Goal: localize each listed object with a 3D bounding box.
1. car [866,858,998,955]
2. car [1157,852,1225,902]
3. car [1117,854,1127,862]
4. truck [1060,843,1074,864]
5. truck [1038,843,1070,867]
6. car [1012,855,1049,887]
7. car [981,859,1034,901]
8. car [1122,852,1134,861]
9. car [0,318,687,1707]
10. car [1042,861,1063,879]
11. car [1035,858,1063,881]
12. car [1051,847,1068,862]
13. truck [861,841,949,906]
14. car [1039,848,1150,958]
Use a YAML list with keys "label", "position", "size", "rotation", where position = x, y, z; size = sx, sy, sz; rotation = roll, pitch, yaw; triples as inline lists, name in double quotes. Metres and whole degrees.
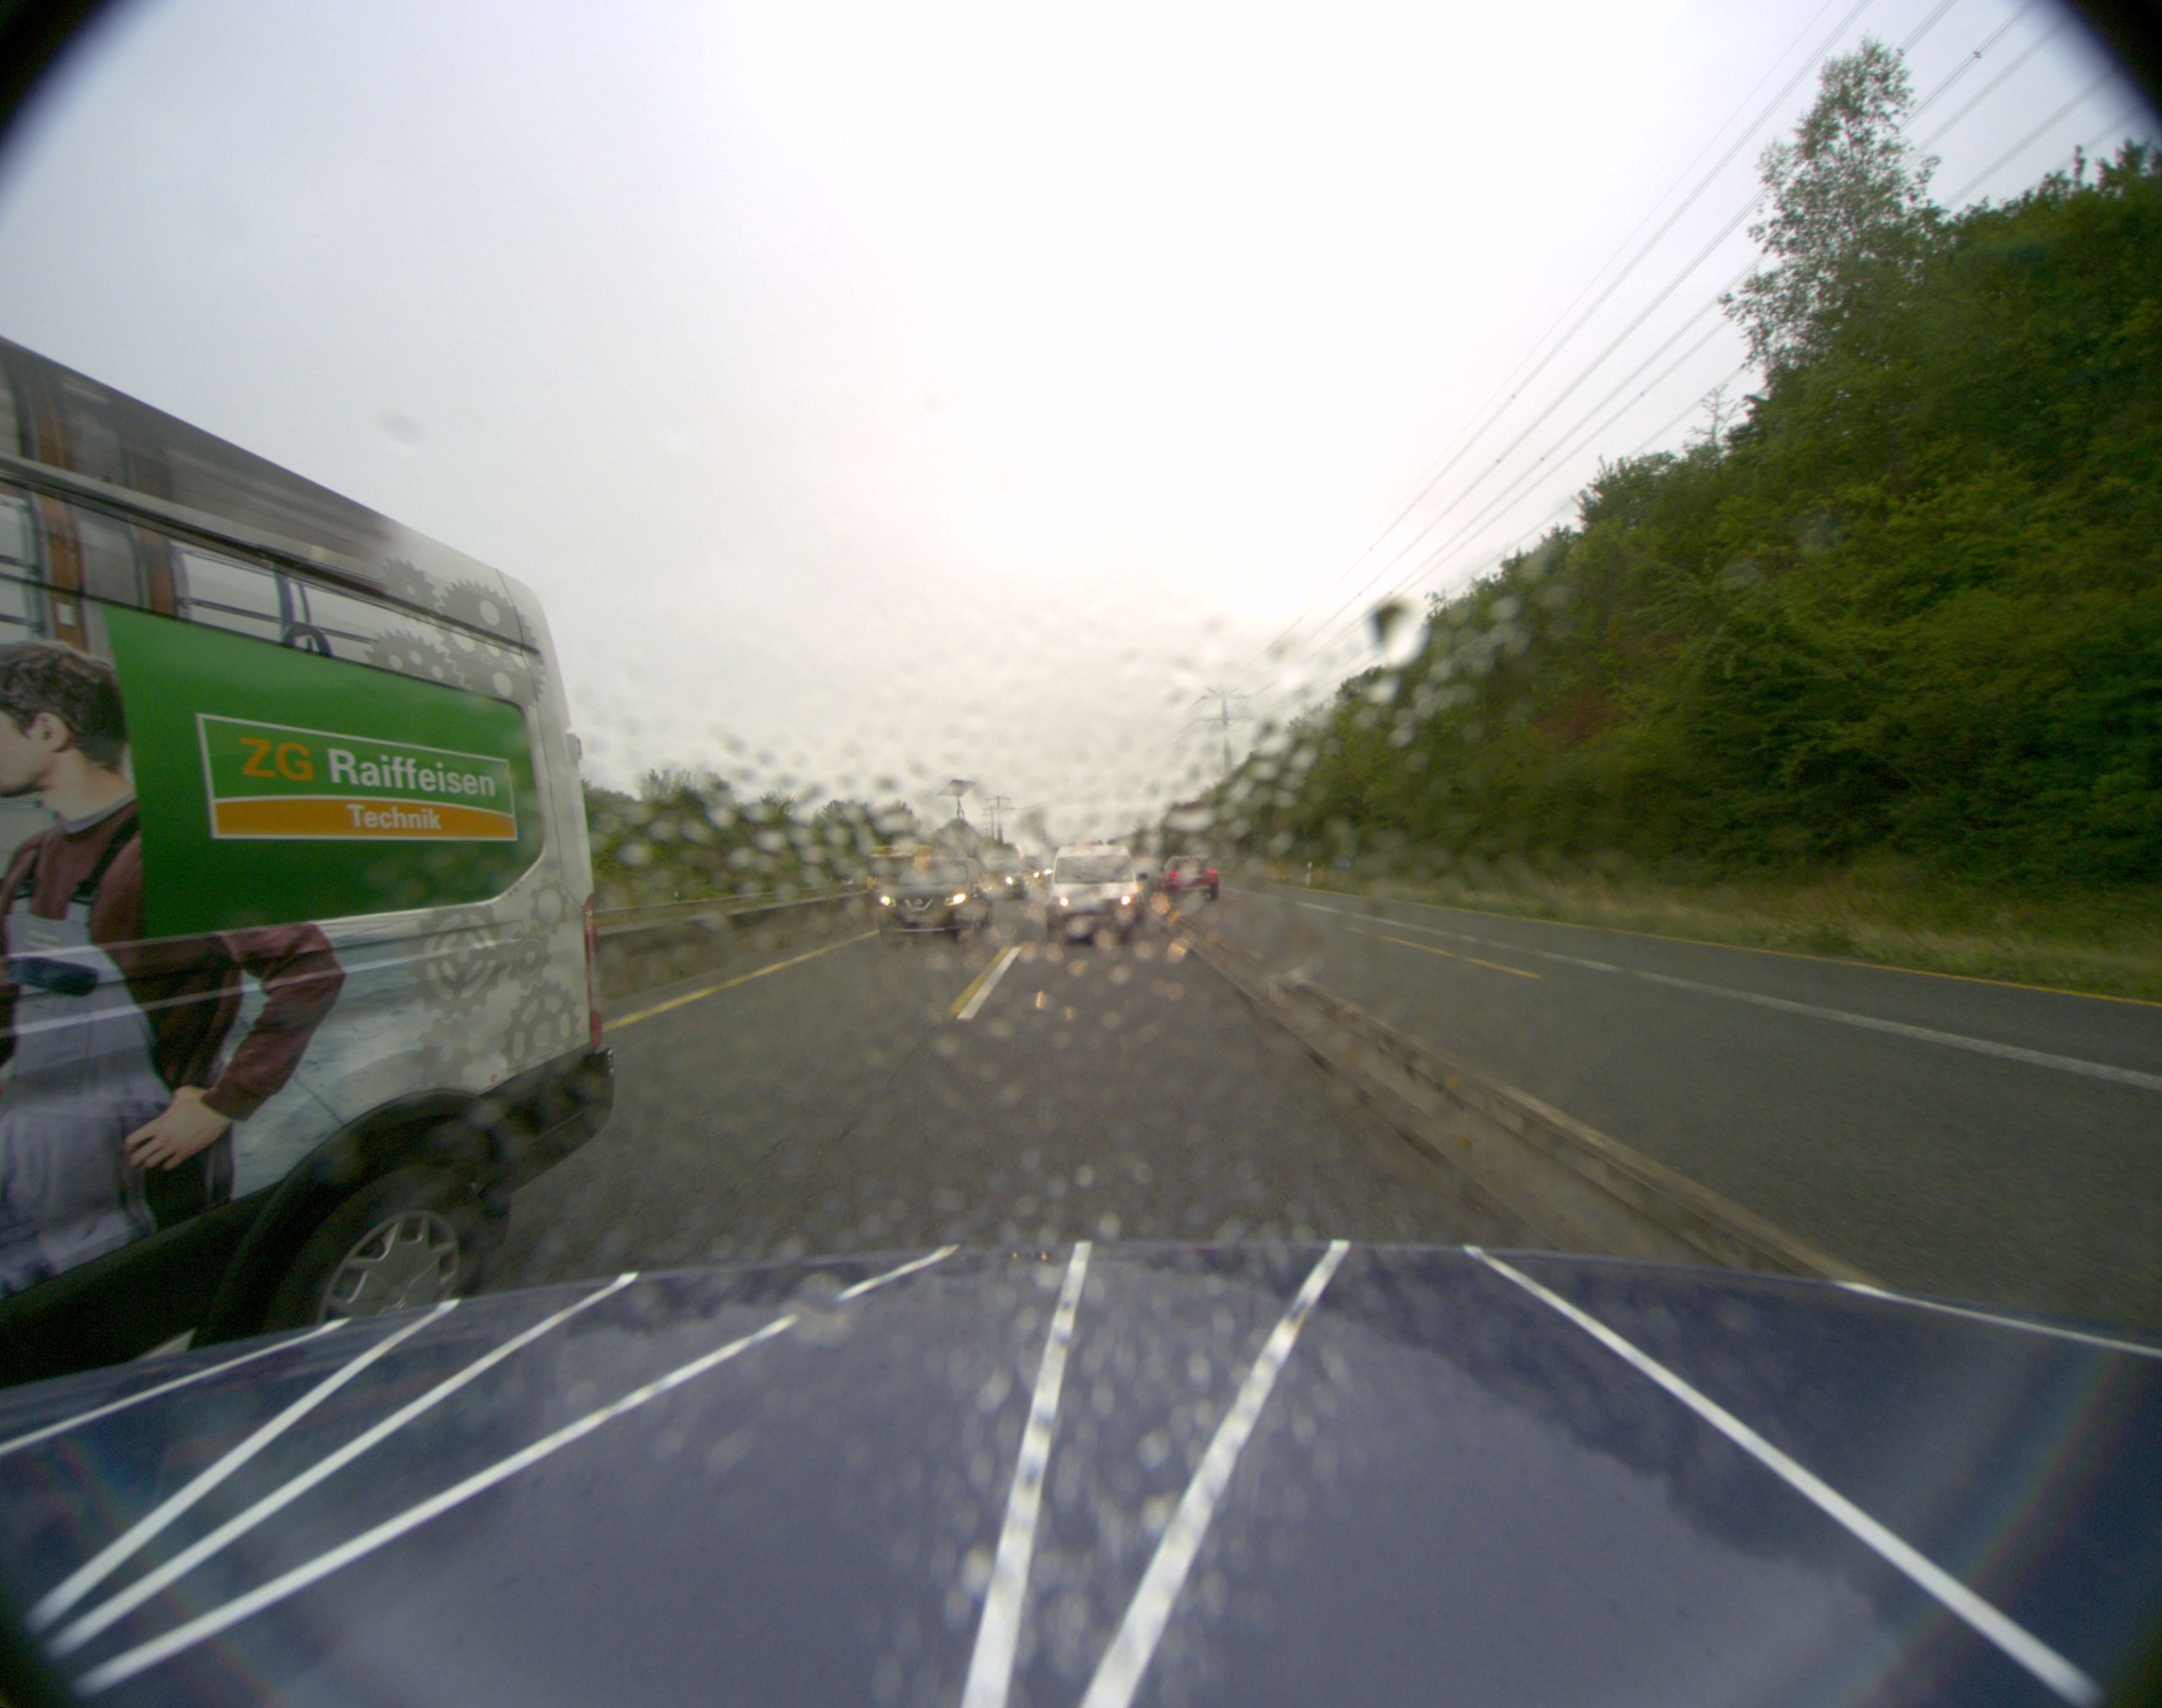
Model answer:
- label: "car"
  position: [-2.984, 0.975, 16.243]
  size: [1.894, 1.665, 4.640]
  rotation: [-2, 1, -1]
- label: "car"
  position: [3.801, 0.756, 26.812]
  size: [1.799, 1.546, 4.000]
  rotation: [-2, 1, 0]
- label: "car"
  position: [8.992, 0.878, 166.842]
  size: [1.875, 1.593, 4.000]
  rotation: [-2, 1, 1]
- label: "truck"
  position: [-2.689, -0.178, 149.403]
  size: [2.619, 3.868, 9.574]
  rotation: [-2, 1, -1]
- label: "truck"
  position: [-4.020, 0.141, 111.623]
  size: [2.622, 3.404, 9.563]
  rotation: [-2, 1, -14]
- label: "car"
  position: [-2.769, 0.895, 42.470]
  size: [1.784, 1.589, 4.123]
  rotation: [-2, 1, -1]
- label: "car"
  position: [-2.947, 1.028, 31.340]
  size: [1.784, 1.482, 4.123]
  rotation: [-2, 1, -1]
- label: "car"
  position: [8.344, 0.466, 134.097]
  size: [1.778, 1.442, 4.449]
  rotation: [-2, 0, 0]
- label: "car"
  position: [-3.008, 0.408, 0.421]
  size: [2.149, 2.660, 6.117]
  rotation: [-2, 1, 2]
- label: "car"
  position: [-2.669, 1.508, 71.320]
  size: [1.784, 1.482, 4.123]
  rotation: [-2, 1, -1]
- label: "car"
  position: [-2.238, 1.058, 54.021]
  size: [1.784, 1.482, 4.123]
  rotation: [-2, 1, -1]
- label: "car"
  position: [-2.296, 0.018, 82.330]
  size: [1.784, 1.482, 4.123]
  rotation: [-2, 1, -1]
- label: "truck"
  position: [-10.190, 0.997, 45.223]
  size: [2.619, 3.404, 9.575]
  rotation: [-2, 1, 2]
- label: "car"
  position: [0.204, 0.796, 14.946]
  size: [1.784, 1.775, 4.697]
  rotation: [-2, 1, -1]
